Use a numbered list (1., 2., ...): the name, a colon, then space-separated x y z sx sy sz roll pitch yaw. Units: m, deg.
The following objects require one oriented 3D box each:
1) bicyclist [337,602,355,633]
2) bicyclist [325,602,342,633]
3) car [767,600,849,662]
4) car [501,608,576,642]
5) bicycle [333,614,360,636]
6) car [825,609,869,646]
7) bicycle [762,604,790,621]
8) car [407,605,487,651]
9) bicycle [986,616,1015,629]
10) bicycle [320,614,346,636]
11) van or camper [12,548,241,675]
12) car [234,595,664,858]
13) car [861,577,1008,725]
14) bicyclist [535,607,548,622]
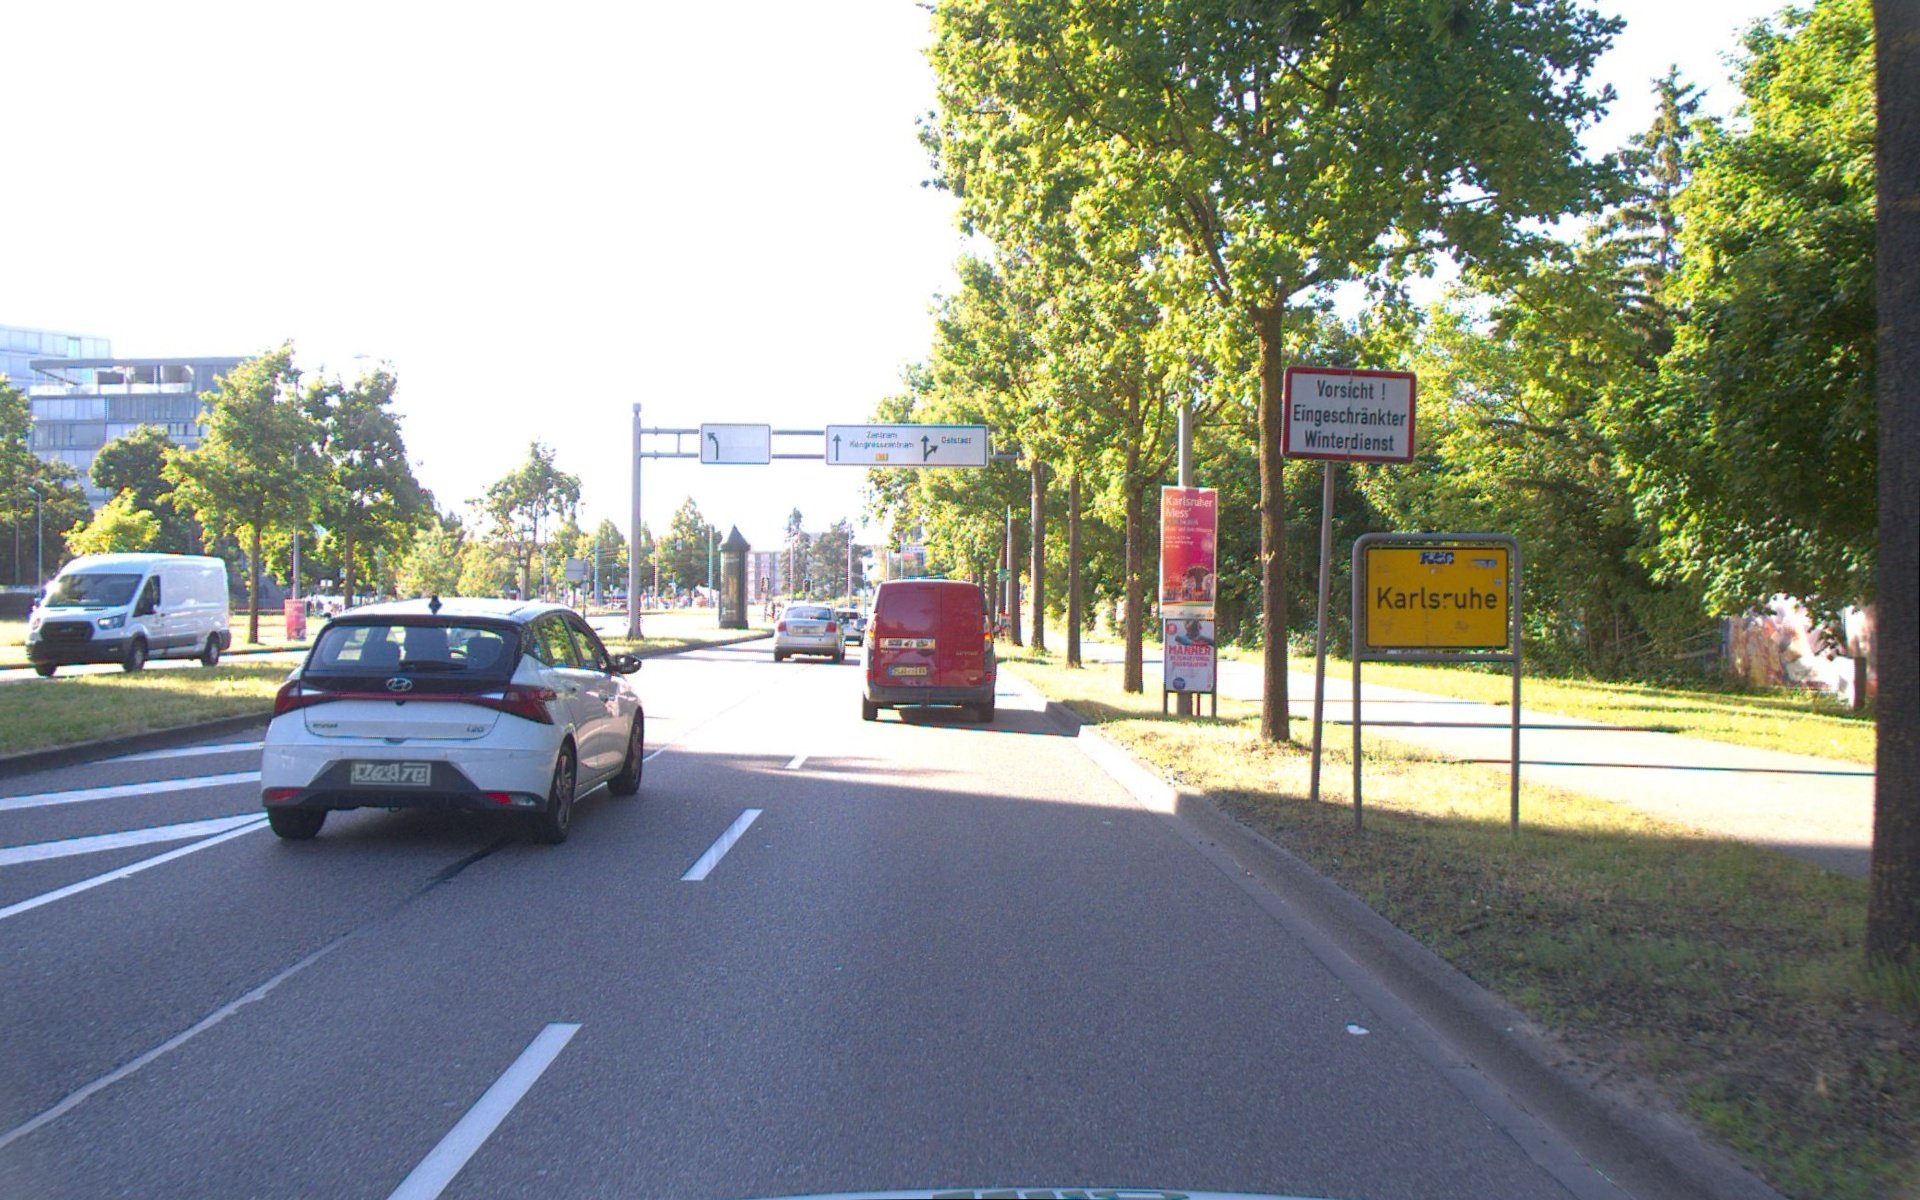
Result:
1. bicyclist: -28.251 0.783 76.088 0.551 1.417 0.747 0 -1 -3
2. bicyclist: -29.099 0.805 76.794 0.472 1.419 0.844 0 -1 -3
3. car: -3.934 0.776 43.404 1.804 1.482 4.161 2 0 -1
4. car: -14.845 0.859 58.451 1.791 1.131 4.171 0 0 -3
5. bicycle: -28.248 1.143 76.189 0.558 1.021 2.095 0 -1 -3
6. car: -4.466 1.072 65.707 1.628 1.422 3.557 0 0 -2
7. bicycle: -13.188 0.880 118.619 1.919 1.187 0.517 0 -1 -3
8. car: -17.446 0.926 56.404 1.655 1.502 4.046 0 0 -3
9. bicycle: 2.968 1.660 121.457 2.101 0.975 0.779 1 -1 -34
10. bicycle: -29.098 1.145 76.767 0.477 1.021 2.095 0 -1 -3
11. van or camper: -17.476 0.210 35.080 1.953 2.410 5.991 -1 0 -2
12. car: -3.211 0.701 11.269 1.742 1.433 4.073 1 0 -2
13. car: -0.375 0.636 22.482 1.770 1.790 4.004 1 0 -2
14. bicyclist: -29.970 1.040 118.408 0.719 1.126 0.605 0 -1 11
